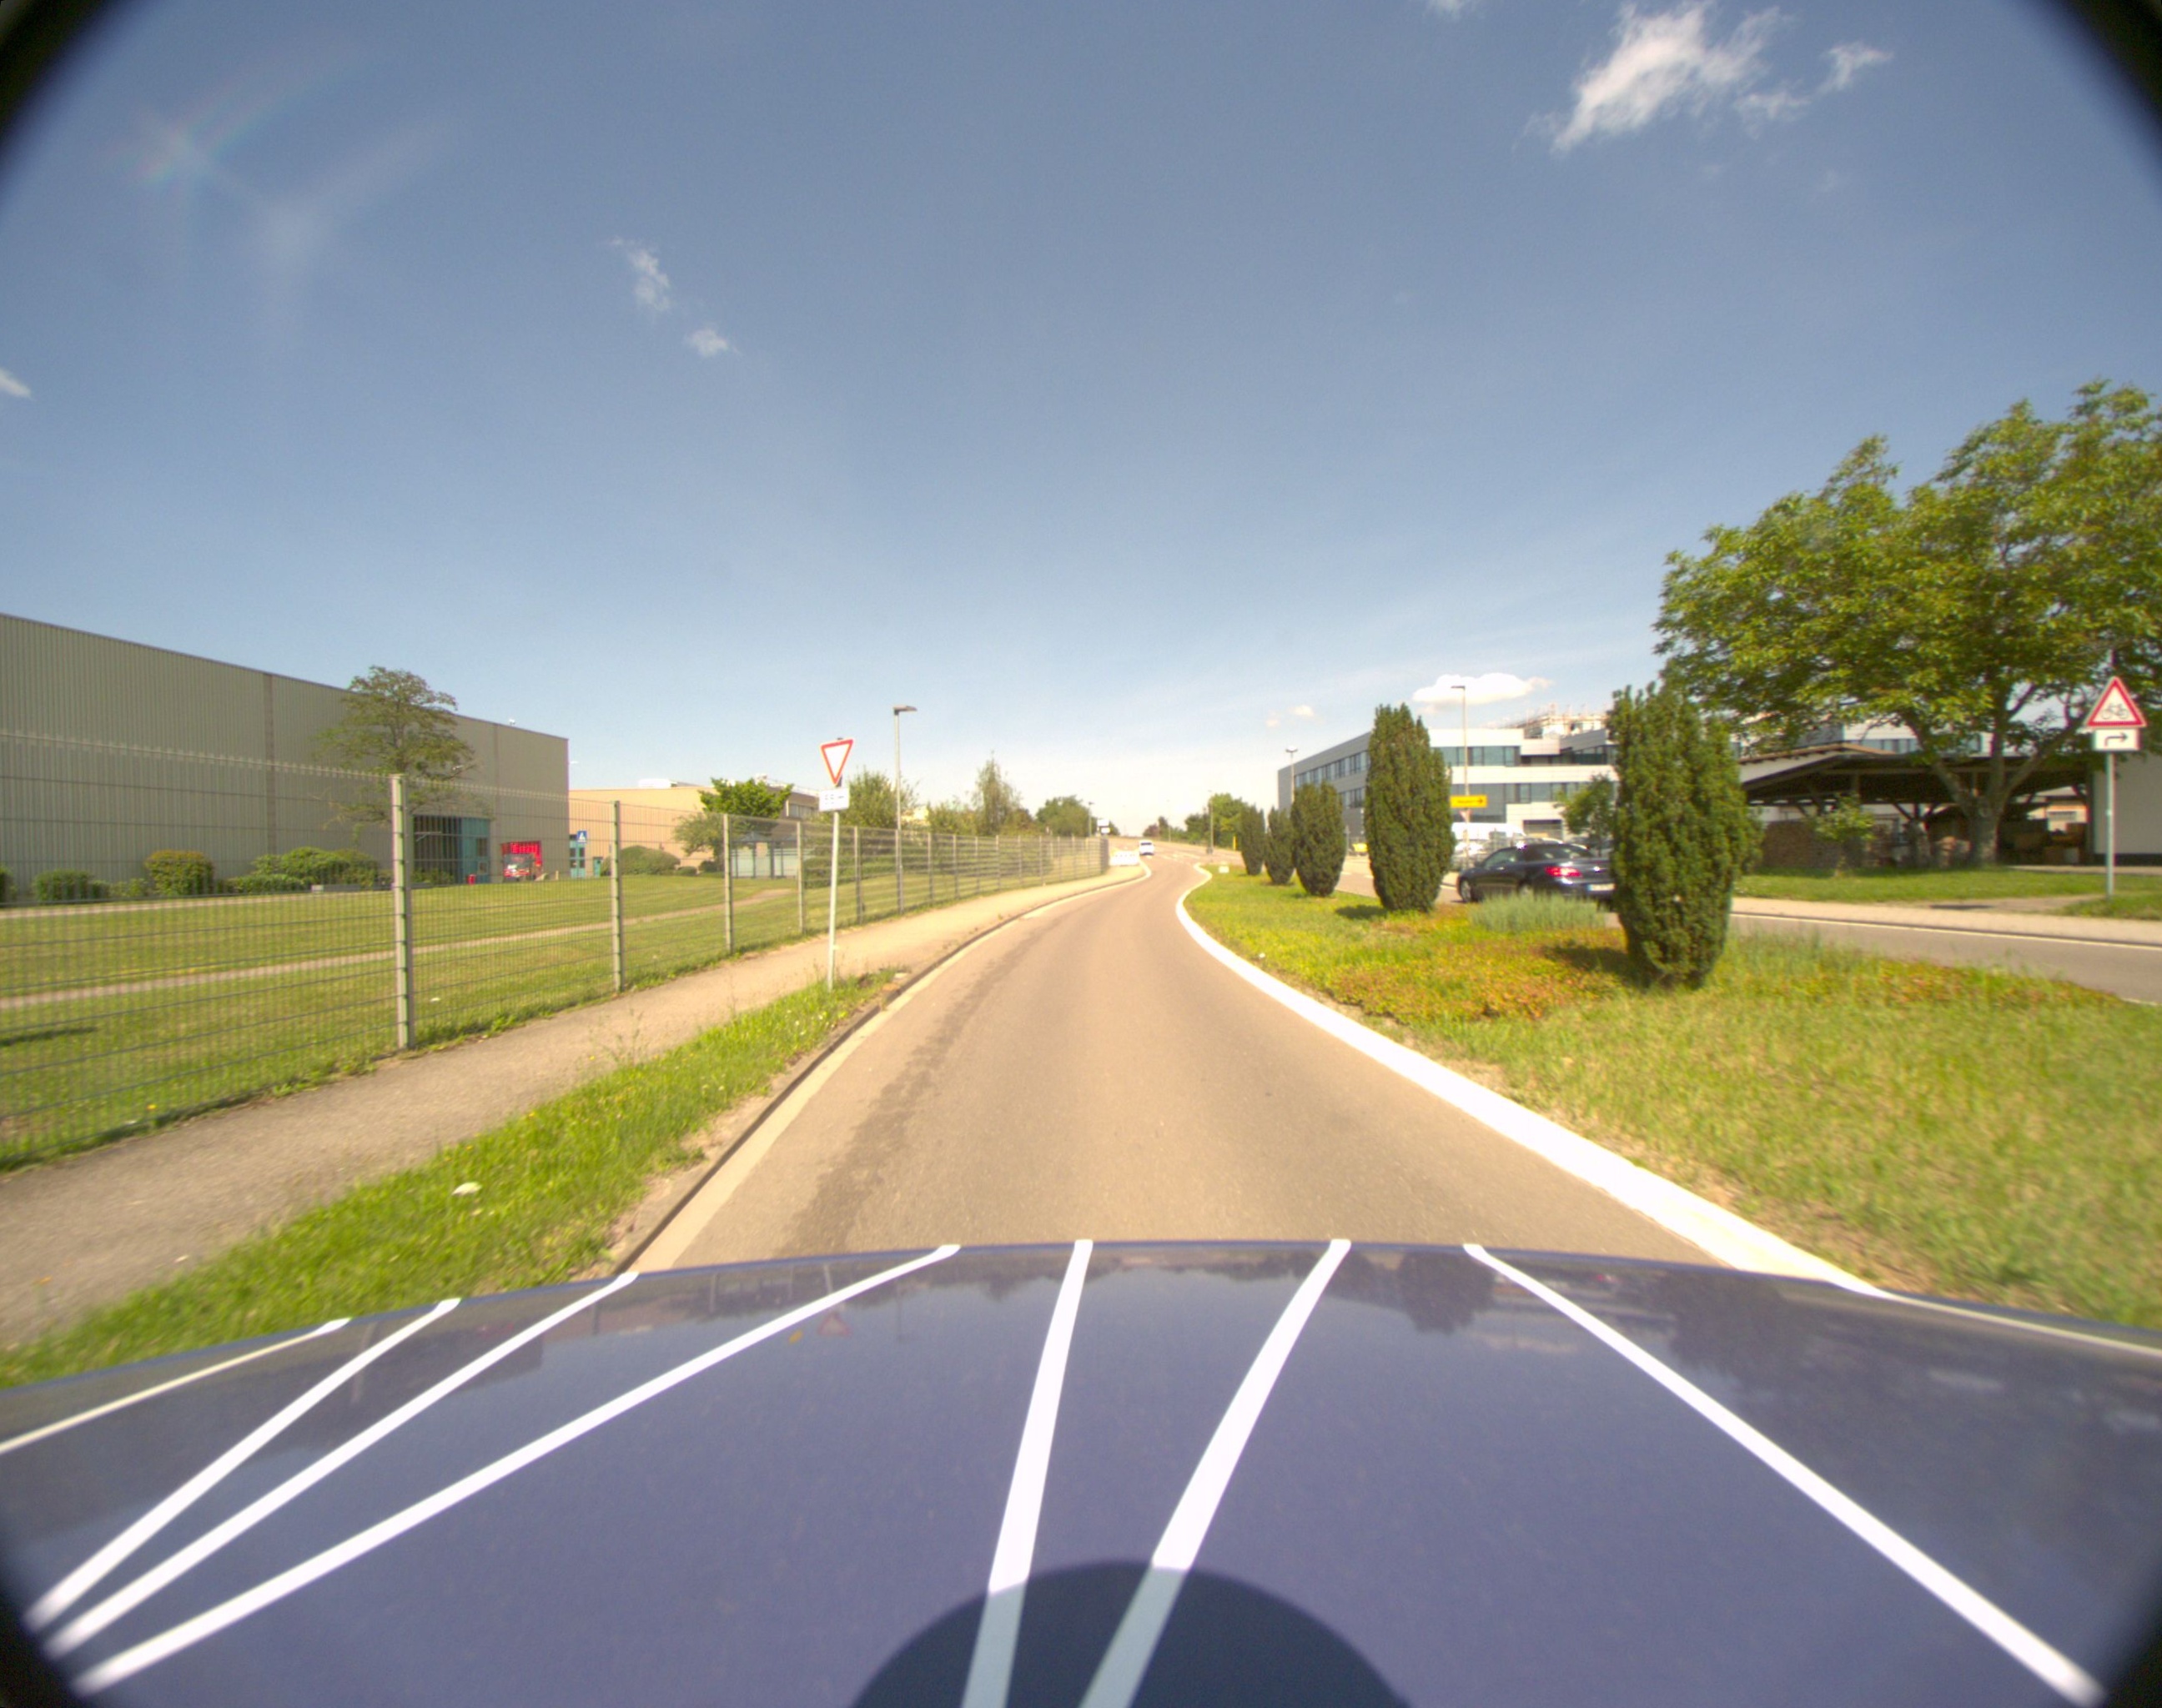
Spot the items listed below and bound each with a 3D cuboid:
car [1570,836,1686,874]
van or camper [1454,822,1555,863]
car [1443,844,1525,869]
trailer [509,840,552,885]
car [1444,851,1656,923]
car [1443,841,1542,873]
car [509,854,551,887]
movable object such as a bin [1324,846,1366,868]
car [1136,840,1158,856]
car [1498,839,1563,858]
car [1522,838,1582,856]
[{"bbox_3d":[22.450,0.025,31.411,1.998,1.434,4.000,-1,1,2],"label":"car"},{"bbox_3d":[27.350,-0.721,49.211,5.574,2.483,2.082,-1,1,29],"label":"van or camper"},{"bbox_3d":[22.245,0.124,42.134,3.881,1.313,1.694,-1,1,23],"label":"car"},{"bbox_3d":[-35.730,0.538,49.246,2.004,2.706,5.972,-2,1,-37],"label":"trailer"},{"bbox_3d":[10.373,0.633,17.357,1.904,1.386,4.865,-1,0,1],"label":"car"},{"bbox_3d":[20.910,0.148,38.745,3.994,1.510,2.001,-1,1,8],"label":"car"},{"bbox_3d":[-32.755,0.936,45.273,1.905,1.805,3.989,-2,1,-35],"label":"car"},{"bbox_3d":[29.336,0.303,84.674,2.172,2.396,5.456,-1,1,-8],"label":"movable object such as a bin"},{"bbox_3d":[8.198,-0.714,94.329,1.999,1.904,3.998,-1,1,-5],"label":"car"},{"bbox_3d":[33.601,-0.419,56.797,3.989,1.313,2.004,-1,1,35],"label":"car"},{"bbox_3d":[35.850,-0.549,57.851,3.732,1.313,1.904,-1,1,35],"label":"car"}]
